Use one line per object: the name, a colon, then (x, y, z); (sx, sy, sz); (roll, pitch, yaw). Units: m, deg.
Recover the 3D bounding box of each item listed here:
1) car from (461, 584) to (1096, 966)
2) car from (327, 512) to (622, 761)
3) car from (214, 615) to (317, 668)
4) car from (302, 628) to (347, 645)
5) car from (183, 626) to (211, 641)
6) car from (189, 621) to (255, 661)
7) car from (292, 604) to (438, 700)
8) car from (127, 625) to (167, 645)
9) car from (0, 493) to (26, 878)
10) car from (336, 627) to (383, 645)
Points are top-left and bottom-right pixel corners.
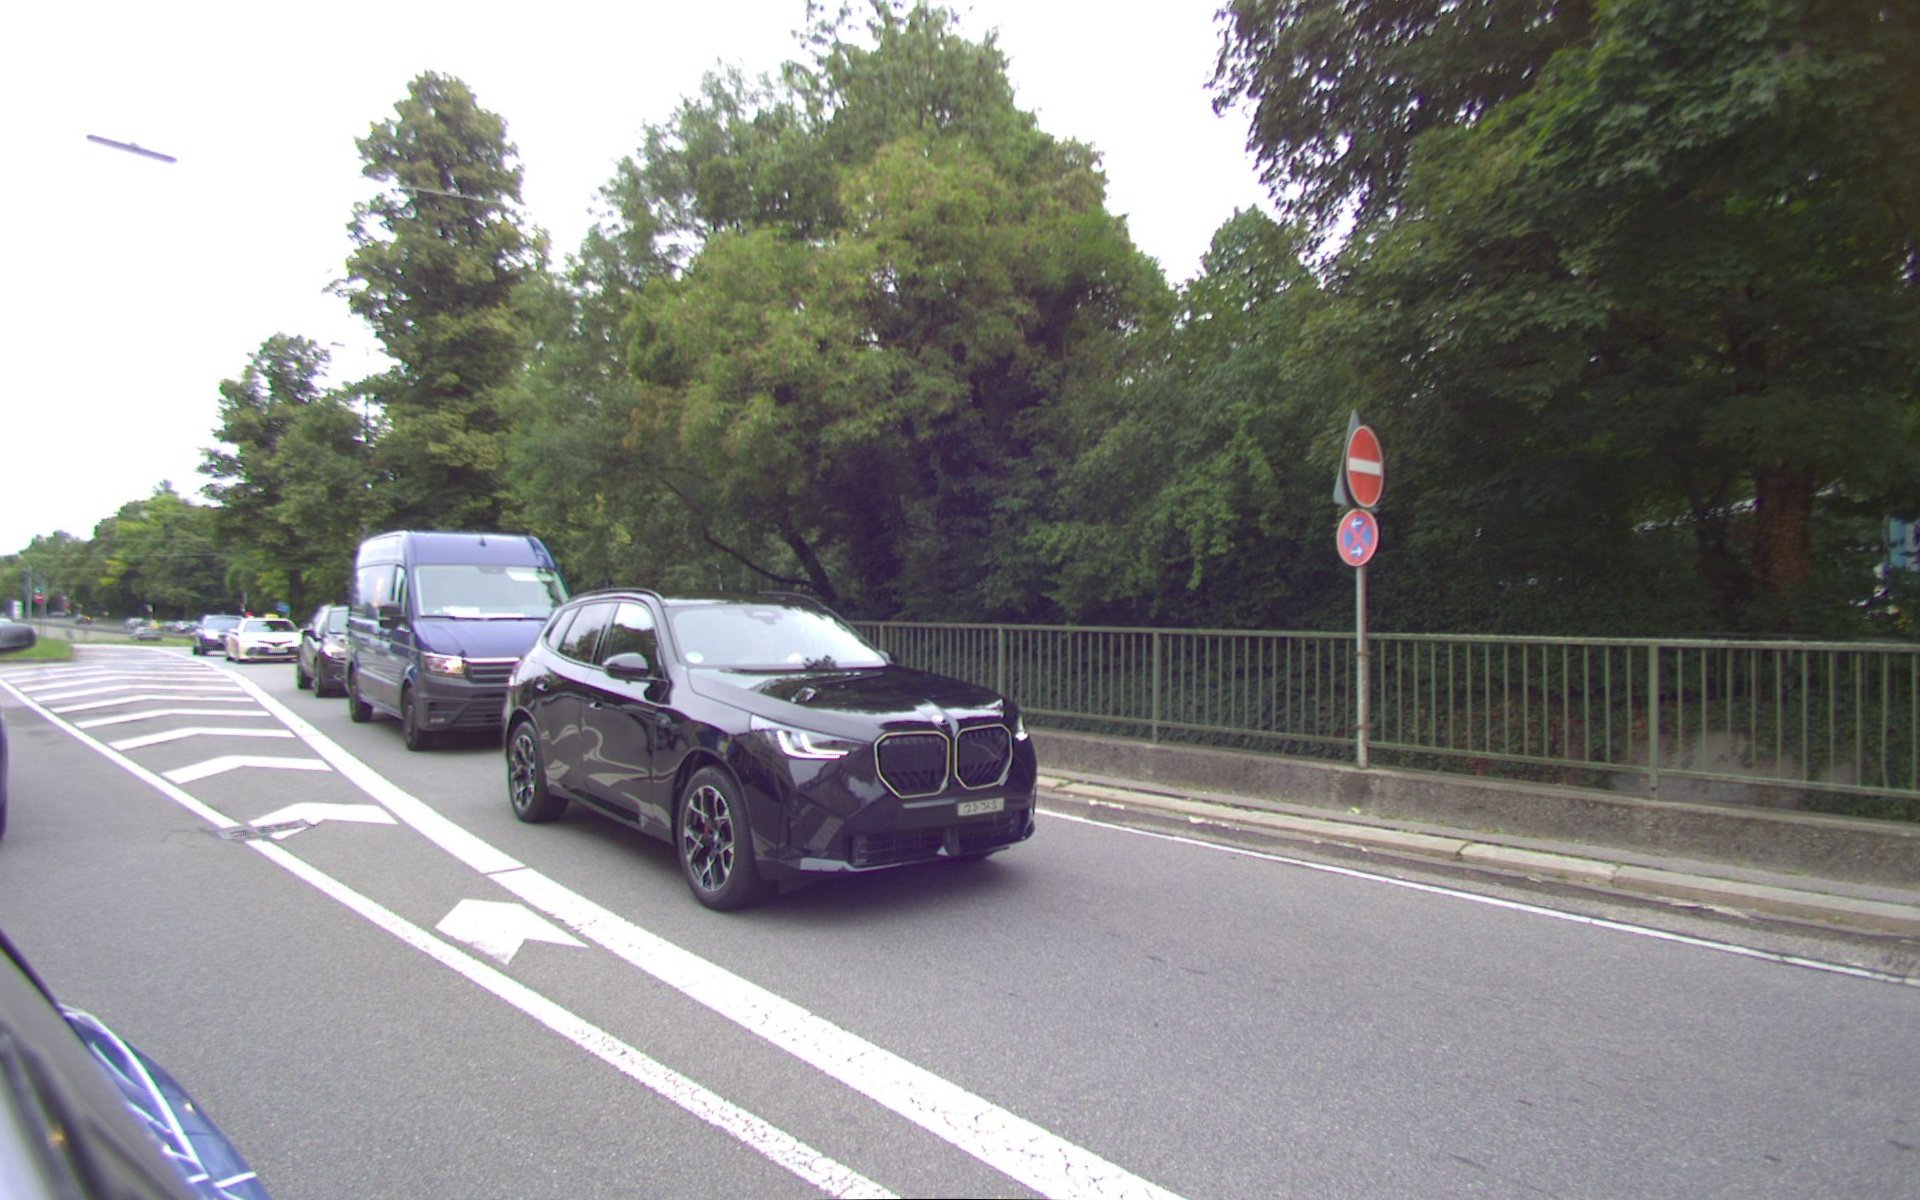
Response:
car: (-1.564, 0.757, 6.695); (1.890, 1.598, 4.836); (1, -1, -42)
car: (-6.499, 0.392, 13.057); (2.156, 2.482, 5.863); (1, -1, -39)
car: (-22.415, 1.313, 32.595); (1.964, 1.577, 4.658); (2, -2, -44)
car: (-58.221, 3.357, 92.737); (4.700, 1.546, 1.974); (-1, -3, 38)
car: (-90.339, 3.916, 119.844); (3.998, 1.759, 1.842); (-1, -2, 41)
car: (-30.663, 1.662, 41.993); (1.962, 1.577, 4.280); (1, -2, -39)
car: (-11.613, 0.953, 19.610); (1.961, 1.640, 4.282); (1, -2, -37)
car: (-77.596, 3.324, 96.560); (4.519, 1.765, 1.975); (-1, -1, 38)
car: (-7.780, 0.482, 6.789); (4.553, 2.227, 1.832); (0, -1, 43)
car: (-52.135, 3.134, 87.867); (4.519, 1.457, 1.974); (-1, -3, 38)
